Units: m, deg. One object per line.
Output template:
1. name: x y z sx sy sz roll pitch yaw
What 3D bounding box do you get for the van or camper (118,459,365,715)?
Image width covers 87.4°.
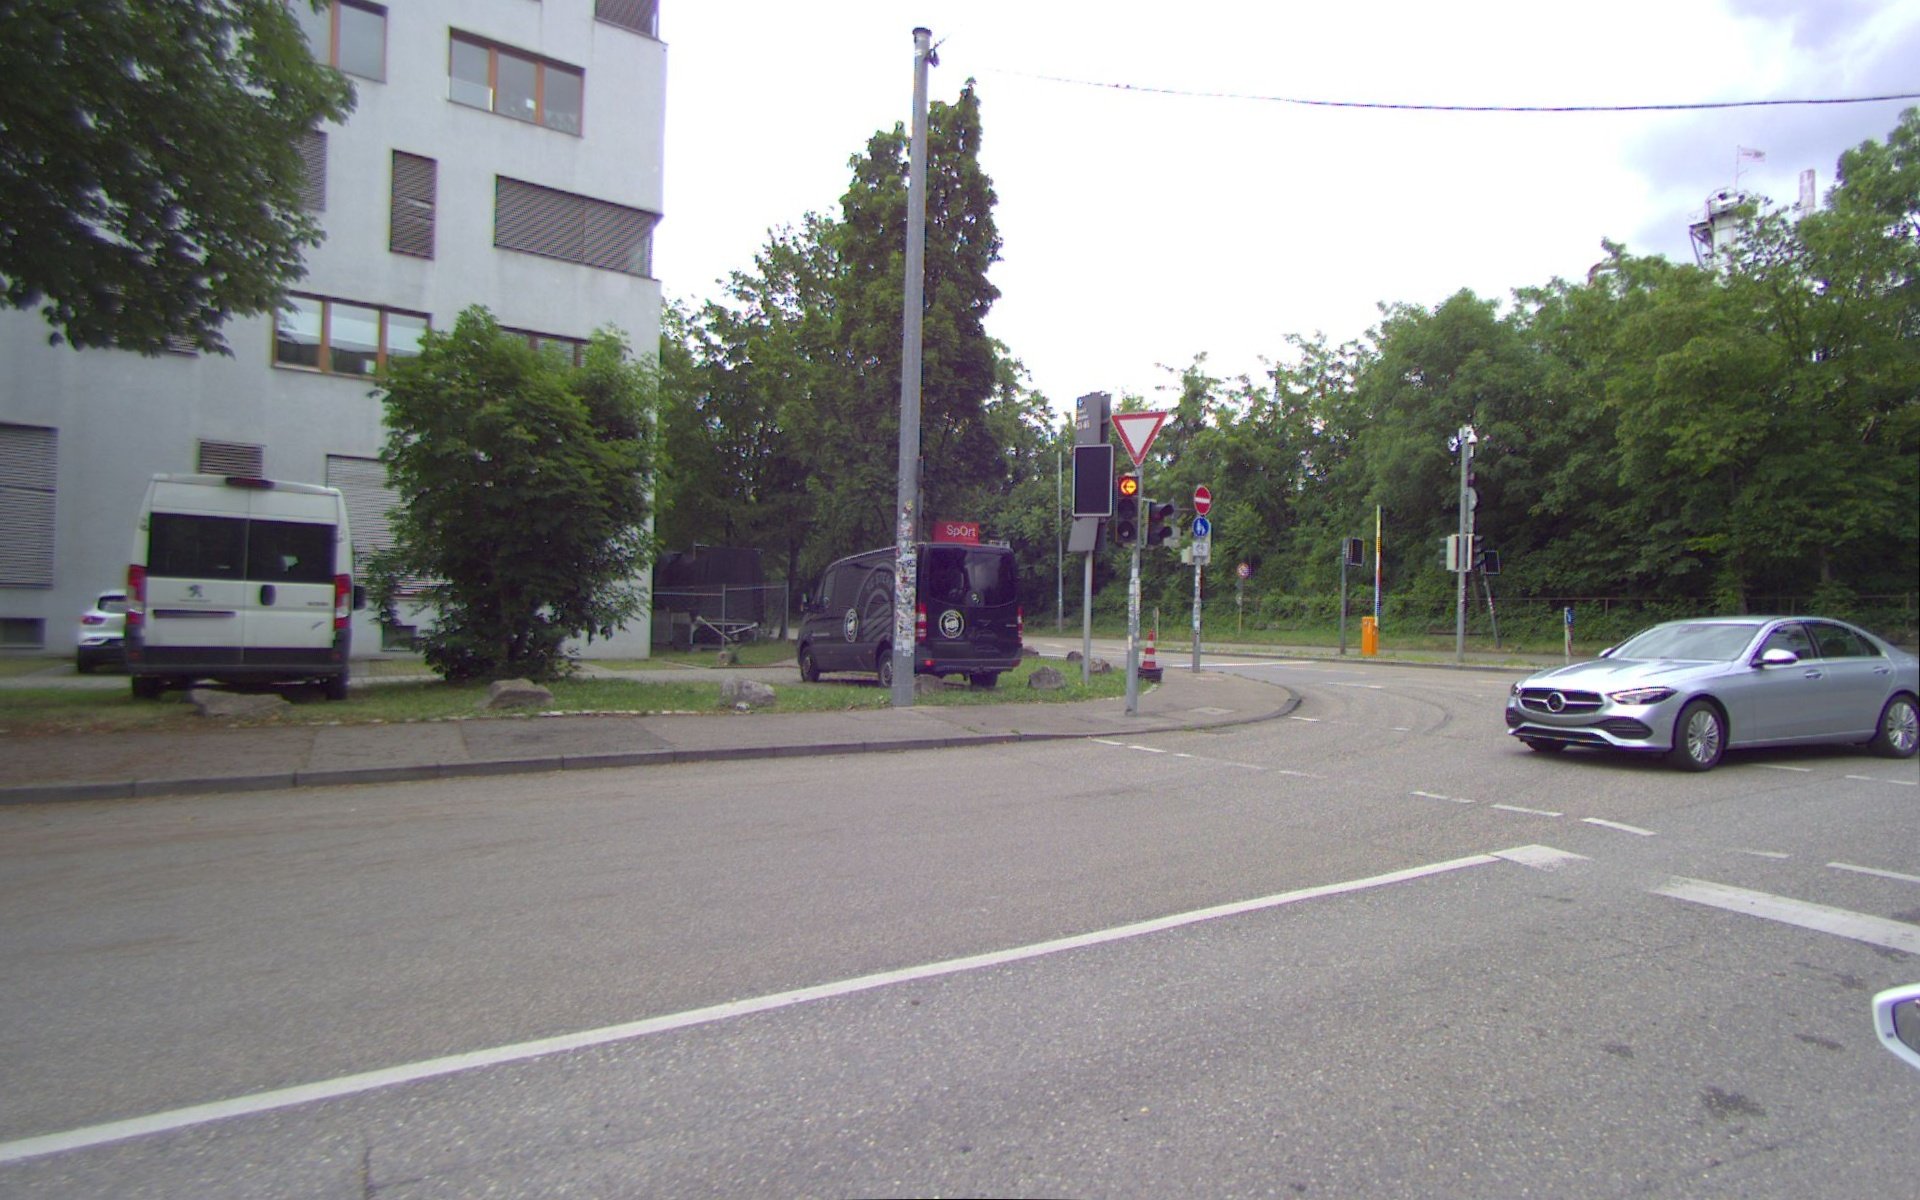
1. van or camper: -8.936 -0.108 12.885 2.039 2.604 4.943 3 -1 -32

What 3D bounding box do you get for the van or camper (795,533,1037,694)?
1. van or camper: -1.006 0.350 17.735 2.037 2.343 5.513 3 -4 -28

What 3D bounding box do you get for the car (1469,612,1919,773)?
1. car: 7.977 0.853 10.618 4.690 1.351 1.827 -1 0 -17

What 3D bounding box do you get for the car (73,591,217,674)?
1. car: -16.465 0.613 20.484 1.881 1.475 3.972 4 -1 -34

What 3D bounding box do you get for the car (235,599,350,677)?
1. car: -14.659 0.797 22.072 1.881 1.475 3.972 4 -1 -34
